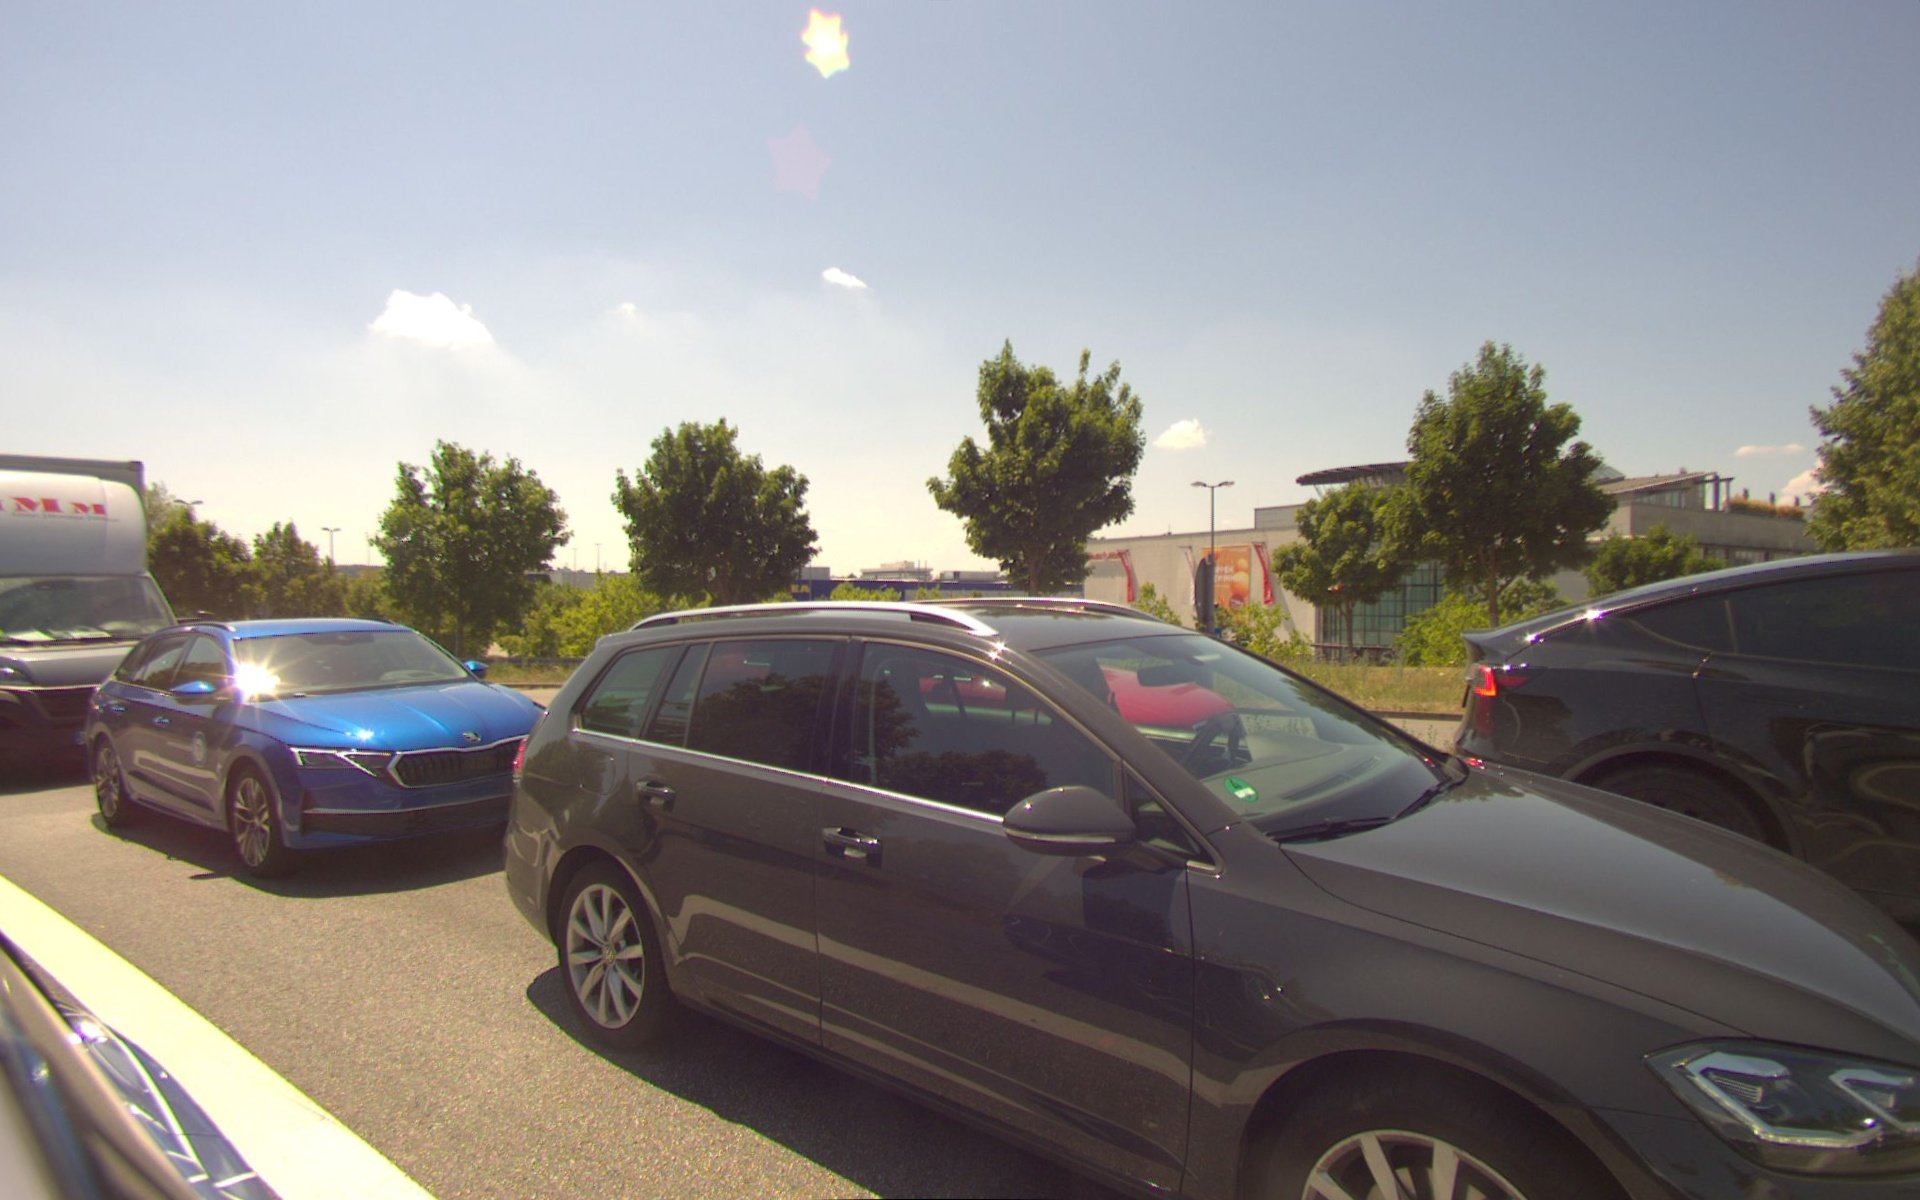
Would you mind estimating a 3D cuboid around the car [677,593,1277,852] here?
[{"bbox_3d":[-0.094,0.688,7.619,4.445,1.399,1.645,-1,1,39],"label":"car"}]

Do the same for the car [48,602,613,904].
[{"bbox_3d":[-4.529,0.823,7.016,4.479,1.473,1.693,-2,-1,35],"label":"car"}]

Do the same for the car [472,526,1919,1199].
[{"bbox_3d":[0.409,0.671,3.110,4.425,1.493,1.760,-1,0,40],"label":"car"}]

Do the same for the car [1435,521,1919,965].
[{"bbox_3d":[4.540,0.513,4.025,4.501,1.613,1.857,-1,0,39],"label":"car"}]

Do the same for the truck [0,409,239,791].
[{"bbox_3d":[-11.078,0.120,11.479,7.184,3.373,2.388,-3,-1,34],"label":"truck"}]
